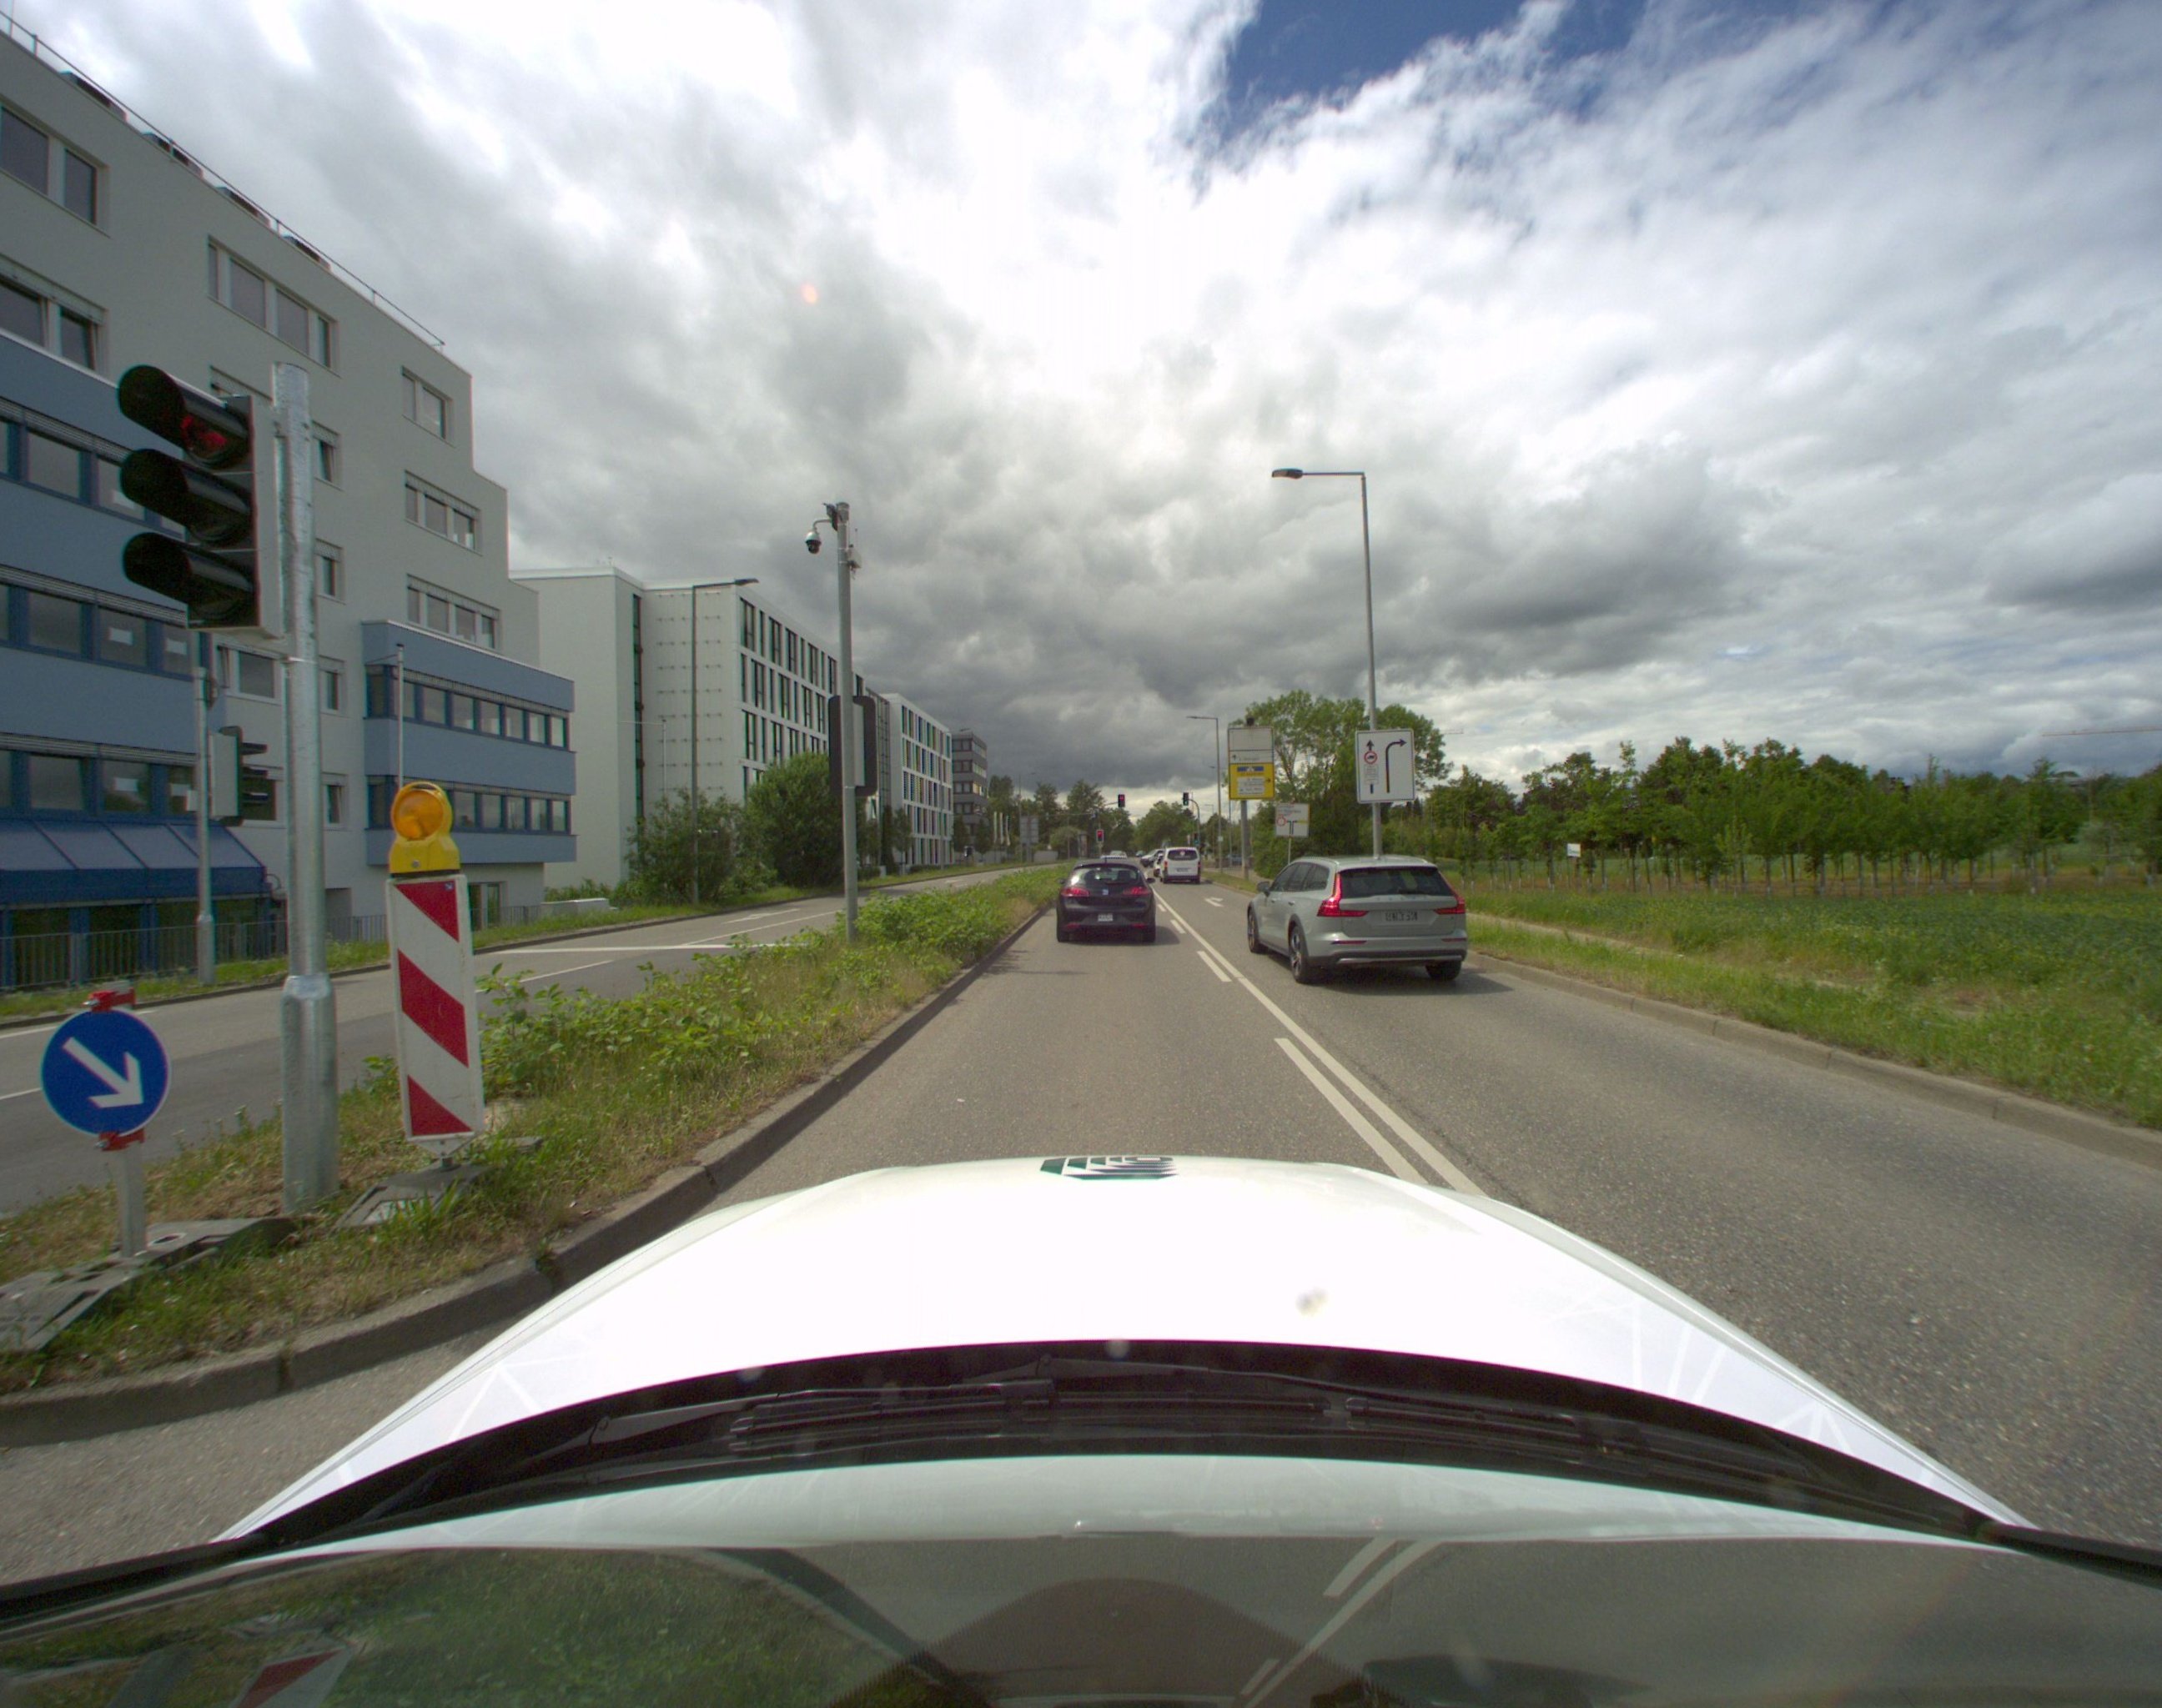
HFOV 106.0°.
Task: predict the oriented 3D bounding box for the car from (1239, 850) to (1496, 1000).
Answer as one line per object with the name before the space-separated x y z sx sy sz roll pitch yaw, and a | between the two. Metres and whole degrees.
car | 3.408 0.730 10.688 1.856 1.518 4.447 -2 0 1

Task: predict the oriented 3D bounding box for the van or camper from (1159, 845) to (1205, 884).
van or camper | 5.229 0.521 42.720 1.985 1.860 4.947 -1 0 3

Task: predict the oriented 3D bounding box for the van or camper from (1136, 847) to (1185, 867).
van or camper | 8.427 0.310 86.477 4.815 2.013 1.987 -1 0 -19

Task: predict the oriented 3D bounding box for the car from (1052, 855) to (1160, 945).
car | 0.543 0.768 15.257 1.765 1.451 3.586 0 0 4

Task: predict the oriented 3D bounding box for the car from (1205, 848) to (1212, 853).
car | 36.723 -0.957 234.622 1.980 1.352 4.014 0 0 12

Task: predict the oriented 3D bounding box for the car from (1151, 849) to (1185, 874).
car | 5.779 0.487 54.383 1.986 1.632 4.002 -1 0 2

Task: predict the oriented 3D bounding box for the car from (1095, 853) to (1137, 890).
car | 1.546 0.735 36.293 1.766 1.491 3.584 -2 0 2
